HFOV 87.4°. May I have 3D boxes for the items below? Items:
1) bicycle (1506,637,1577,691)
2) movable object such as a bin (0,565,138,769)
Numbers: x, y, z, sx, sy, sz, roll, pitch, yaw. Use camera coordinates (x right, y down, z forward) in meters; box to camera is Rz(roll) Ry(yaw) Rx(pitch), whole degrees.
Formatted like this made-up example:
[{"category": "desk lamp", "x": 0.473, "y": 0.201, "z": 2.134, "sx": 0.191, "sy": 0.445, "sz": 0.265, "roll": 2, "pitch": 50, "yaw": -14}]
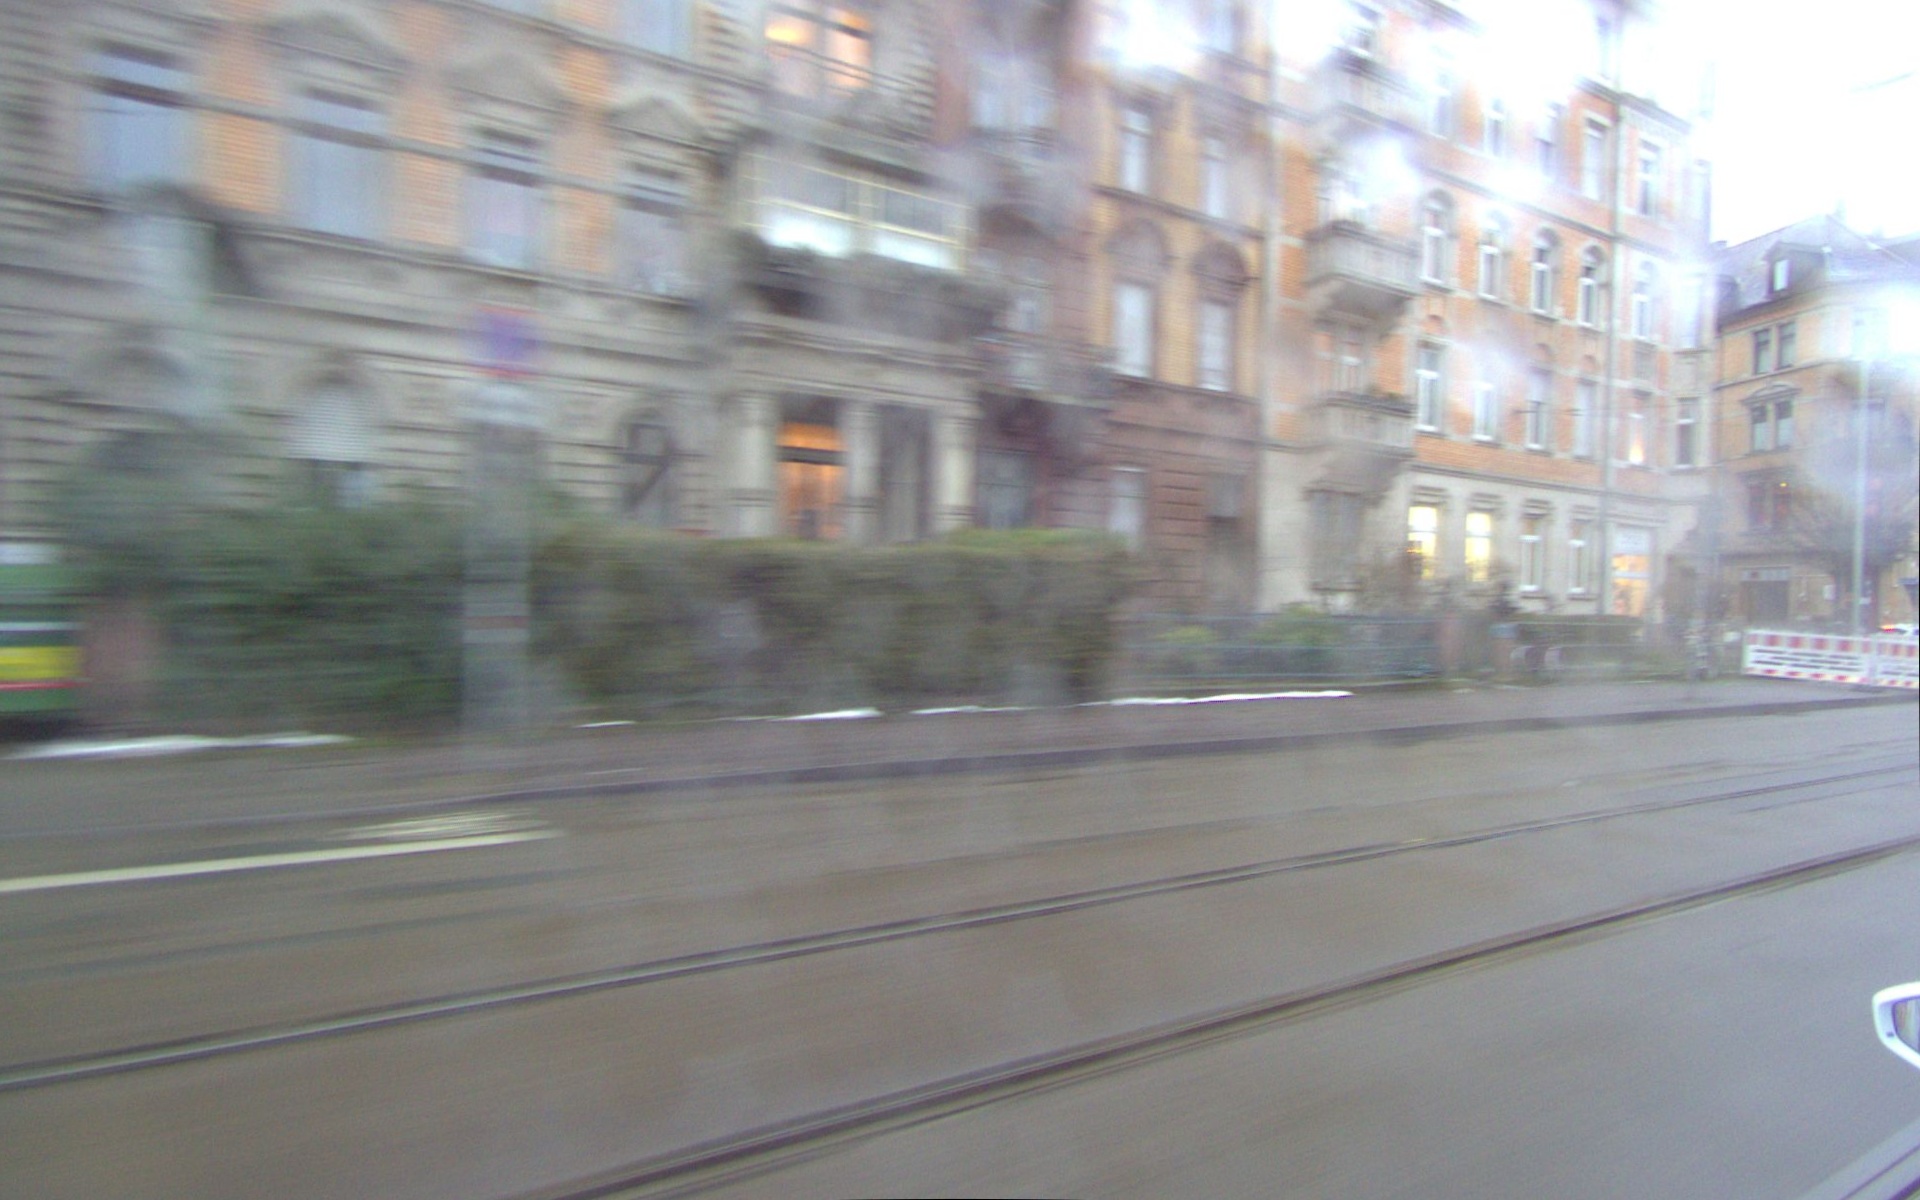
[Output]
[{"category": "bicycle", "x": 10.665, "y": 1.155, "z": 18.405, "sx": 1.665, "sy": 0.928, "sz": 0.262, "roll": 1, "pitch": 5, "yaw": -30}, {"category": "movable object such as a bin", "x": -7.920, "y": 0.521, "z": 8.425, "sx": 1.290, "sy": 1.607, "sz": 1.240, "roll": 1, "pitch": 1, "yaw": -25}]
